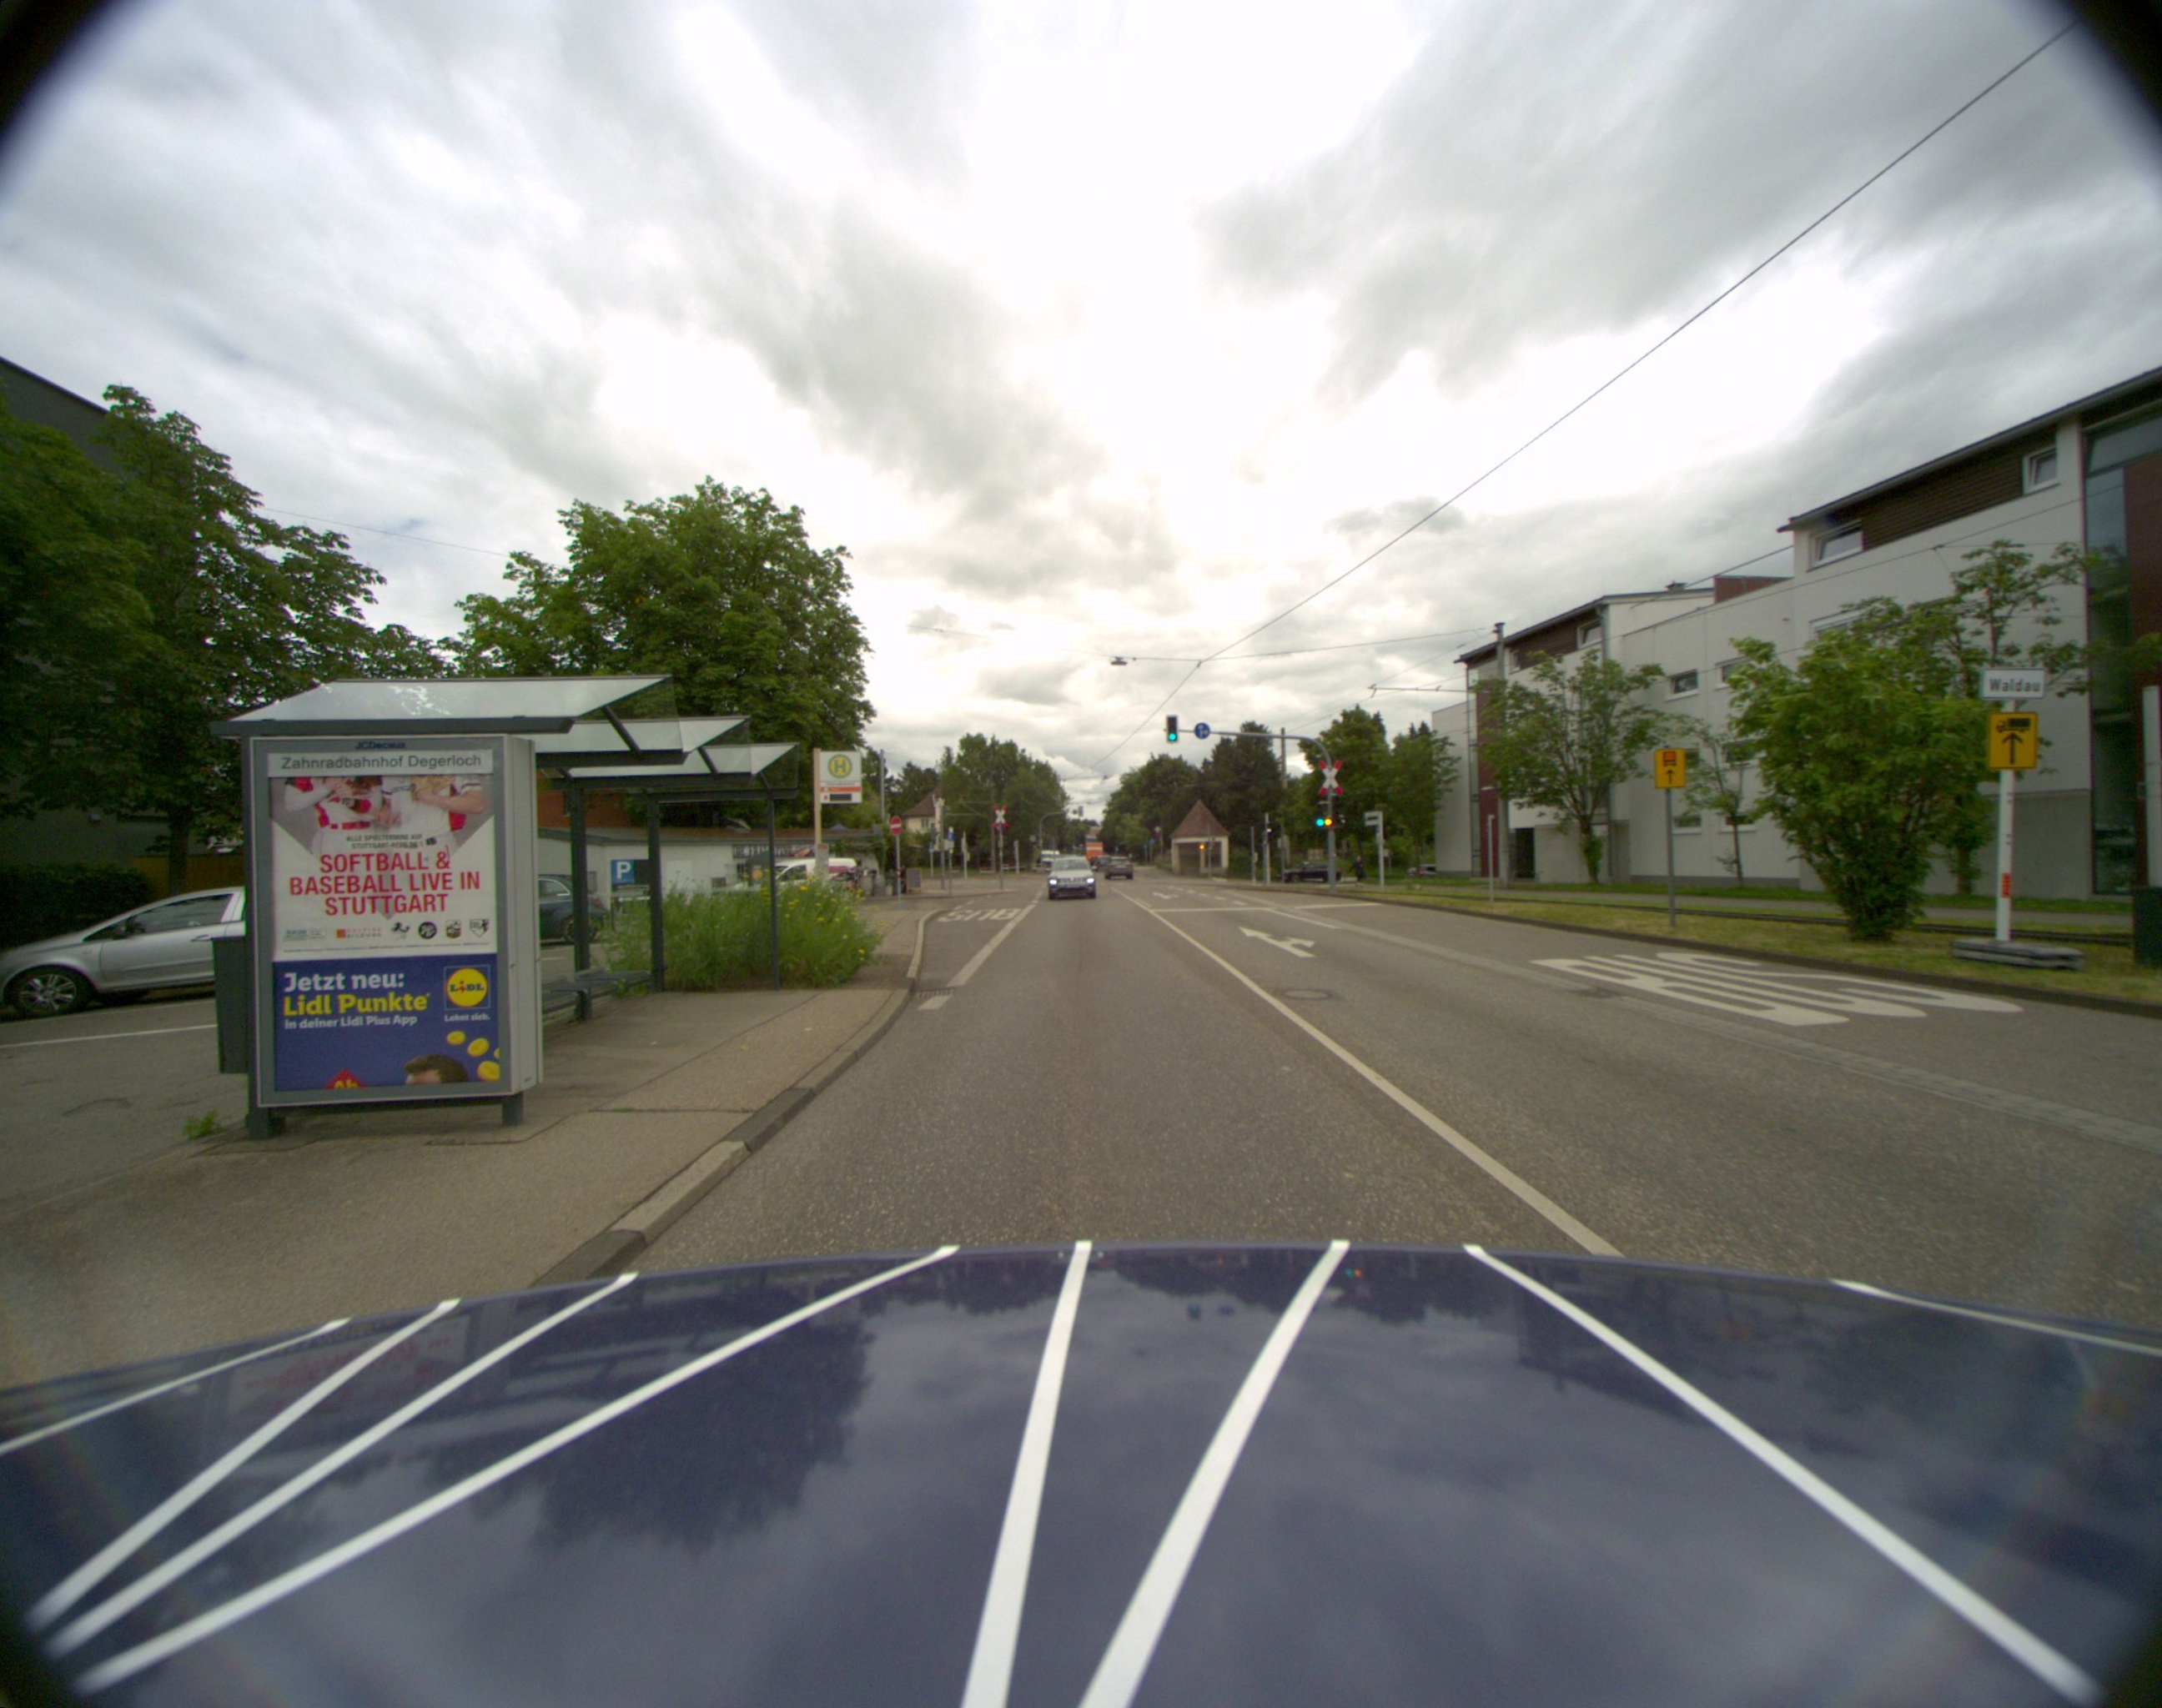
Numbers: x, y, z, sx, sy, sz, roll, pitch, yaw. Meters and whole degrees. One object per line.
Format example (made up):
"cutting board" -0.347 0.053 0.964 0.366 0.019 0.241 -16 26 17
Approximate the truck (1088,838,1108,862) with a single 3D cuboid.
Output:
"truck" 2.657 -0.614 124.098 2.776 3.697 8.466 1 0 -2

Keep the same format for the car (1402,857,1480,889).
"car" 24.874 1.322 52.568 4.469 2.002 1.999 2 0 -7

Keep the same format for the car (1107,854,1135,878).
"car" 2.840 0.829 54.543 1.744 1.550 4.182 -1 0 -1

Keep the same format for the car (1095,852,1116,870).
"car" 2.575 0.724 79.784 1.835 1.660 4.487 -5 1 -1

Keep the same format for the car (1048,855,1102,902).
"car" -0.331 0.926 30.526 1.835 1.610 4.486 -3 1 -4

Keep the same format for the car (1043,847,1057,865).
"car" -4.685 0.231 115.103 2.095 2.589 6.679 -1 0 -3

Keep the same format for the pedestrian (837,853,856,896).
"pedestrian" -10.243 0.883 33.241 0.688 1.846 0.622 1 -2 -27

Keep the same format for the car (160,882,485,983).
"car" -14.043 1.370 14.467 4.006 1.468 1.875 -2 0 -32

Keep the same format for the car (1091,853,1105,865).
"car" 2.245 0.637 101.712 1.679 1.497 3.732 1 0 -2

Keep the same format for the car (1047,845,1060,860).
"car" -4.741 -0.219 132.824 2.046 2.588 5.966 -1 0 -1

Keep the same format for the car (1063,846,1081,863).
"car" -0.975 0.079 84.196 1.811 1.736 3.999 -2 0 -2

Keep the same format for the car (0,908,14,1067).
"car" -11.091 1.219 5.441 3.655 1.427 1.588 0 1 -27

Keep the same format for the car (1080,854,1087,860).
"car" 0.635 0.700 192.402 1.944 1.522 4.525 0 0 0

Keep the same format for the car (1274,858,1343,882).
"car" 16.958 1.178 56.759 4.488 1.660 1.964 2 0 -8

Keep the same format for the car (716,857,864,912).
"car" -10.397 1.039 27.487 1.846 1.738 4.705 -1 0 37

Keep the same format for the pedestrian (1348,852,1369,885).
"pedestrian" 13.941 0.728 38.154 0.677 1.634 0.819 0 -2 -6

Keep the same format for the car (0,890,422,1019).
"car" -11.474 1.241 10.357 3.522 1.369 1.544 -1 -2 -31

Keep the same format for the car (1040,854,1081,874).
"car" -1.678 0.831 65.063 1.912 1.527 4.663 -1 0 20
